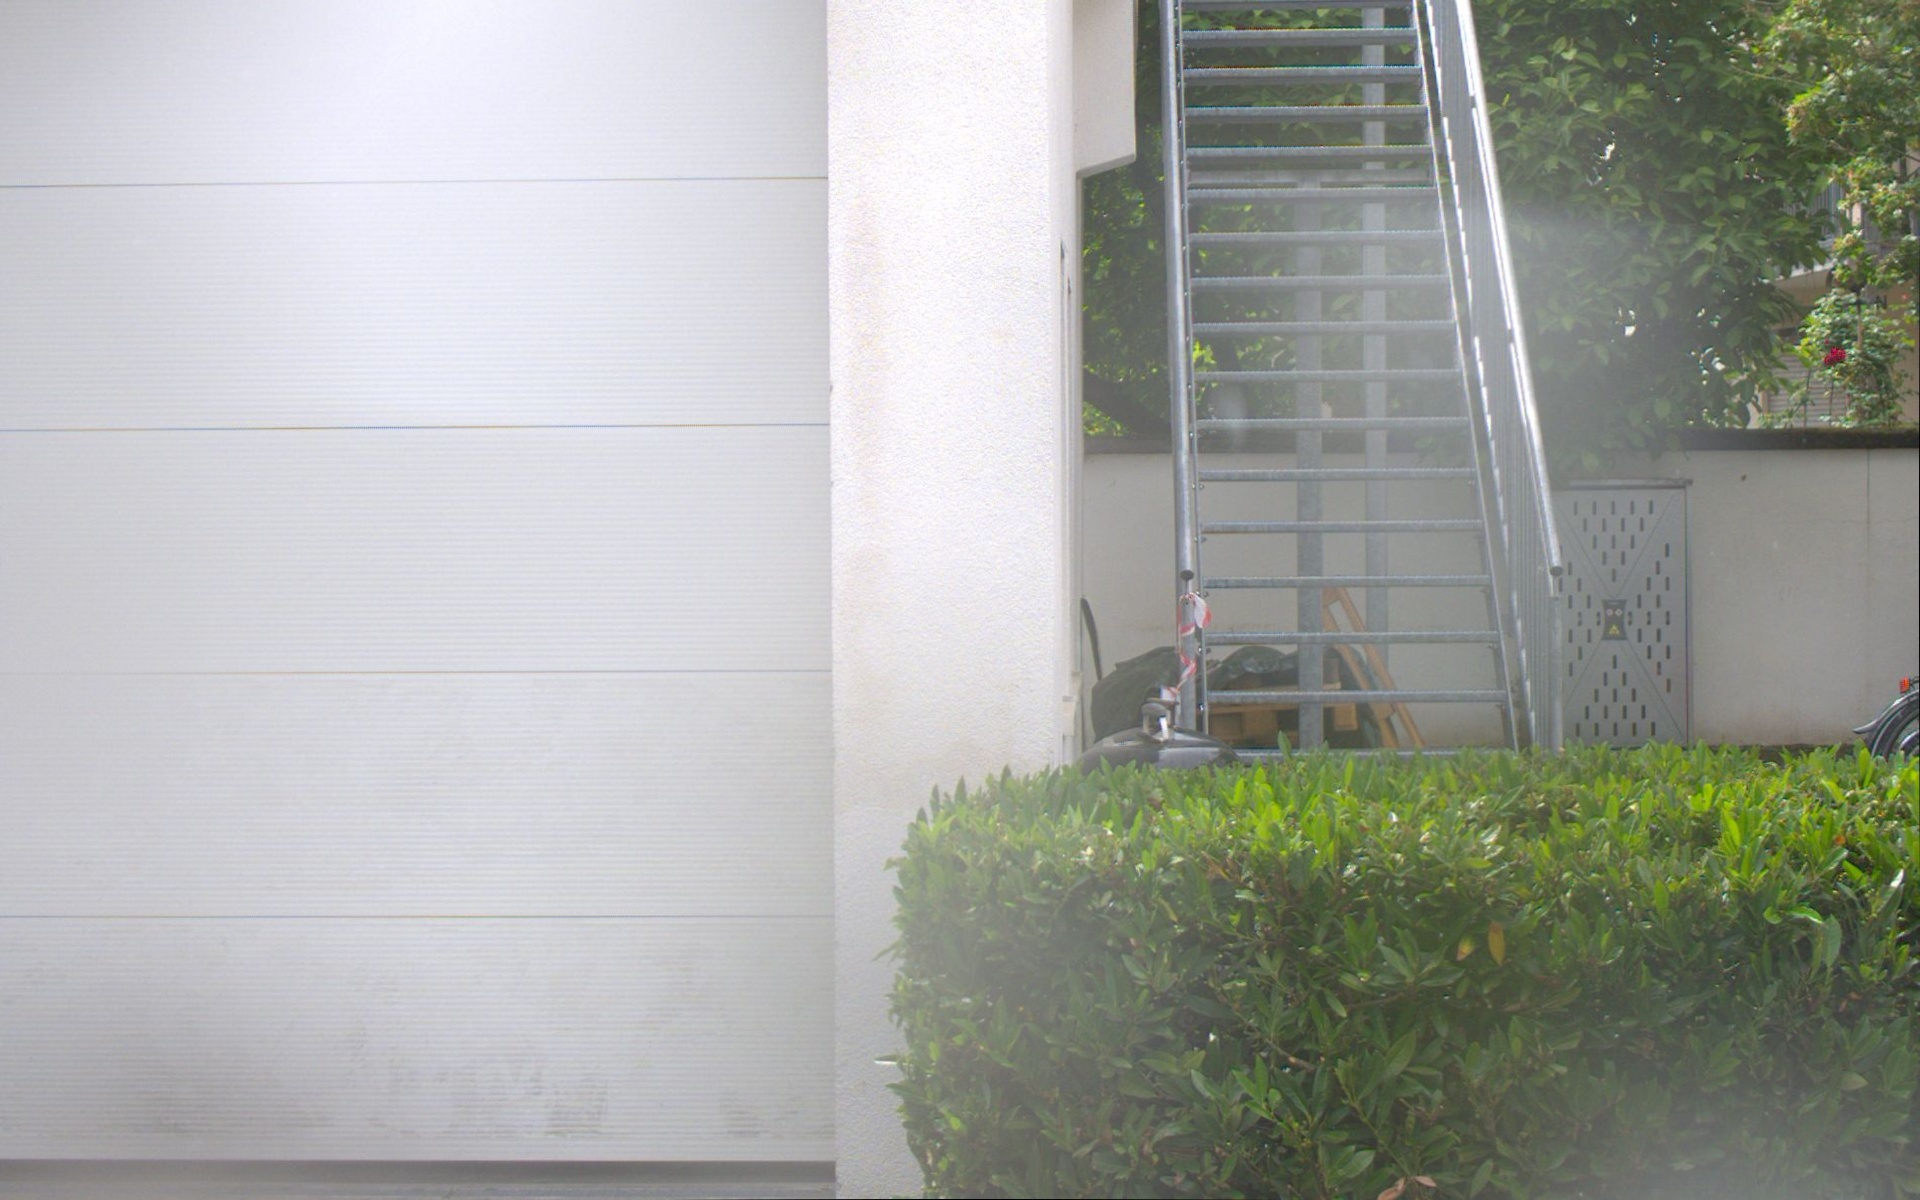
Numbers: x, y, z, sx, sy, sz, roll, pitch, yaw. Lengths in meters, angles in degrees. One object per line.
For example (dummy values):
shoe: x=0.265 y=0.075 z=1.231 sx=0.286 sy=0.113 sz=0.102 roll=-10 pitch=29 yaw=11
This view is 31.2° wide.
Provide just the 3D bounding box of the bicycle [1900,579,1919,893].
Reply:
bicycle: x=4.741 y=0.495 z=11.749 sx=2.843 sy=1.074 sz=0.689 roll=1 pitch=2 yaw=-1

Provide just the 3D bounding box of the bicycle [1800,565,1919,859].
bicycle: x=4.738 y=0.429 z=13.186 sx=2.843 sy=1.074 sz=0.689 roll=1 pitch=2 yaw=-1

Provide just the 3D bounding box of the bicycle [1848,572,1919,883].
bicycle: x=4.743 y=0.462 z=12.472 sx=2.843 sy=1.074 sz=0.689 roll=1 pitch=2 yaw=-1

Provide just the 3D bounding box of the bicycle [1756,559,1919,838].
bicycle: x=4.731 y=0.396 z=13.893 sx=2.843 sy=1.074 sz=0.689 roll=1 pitch=2 yaw=-1
